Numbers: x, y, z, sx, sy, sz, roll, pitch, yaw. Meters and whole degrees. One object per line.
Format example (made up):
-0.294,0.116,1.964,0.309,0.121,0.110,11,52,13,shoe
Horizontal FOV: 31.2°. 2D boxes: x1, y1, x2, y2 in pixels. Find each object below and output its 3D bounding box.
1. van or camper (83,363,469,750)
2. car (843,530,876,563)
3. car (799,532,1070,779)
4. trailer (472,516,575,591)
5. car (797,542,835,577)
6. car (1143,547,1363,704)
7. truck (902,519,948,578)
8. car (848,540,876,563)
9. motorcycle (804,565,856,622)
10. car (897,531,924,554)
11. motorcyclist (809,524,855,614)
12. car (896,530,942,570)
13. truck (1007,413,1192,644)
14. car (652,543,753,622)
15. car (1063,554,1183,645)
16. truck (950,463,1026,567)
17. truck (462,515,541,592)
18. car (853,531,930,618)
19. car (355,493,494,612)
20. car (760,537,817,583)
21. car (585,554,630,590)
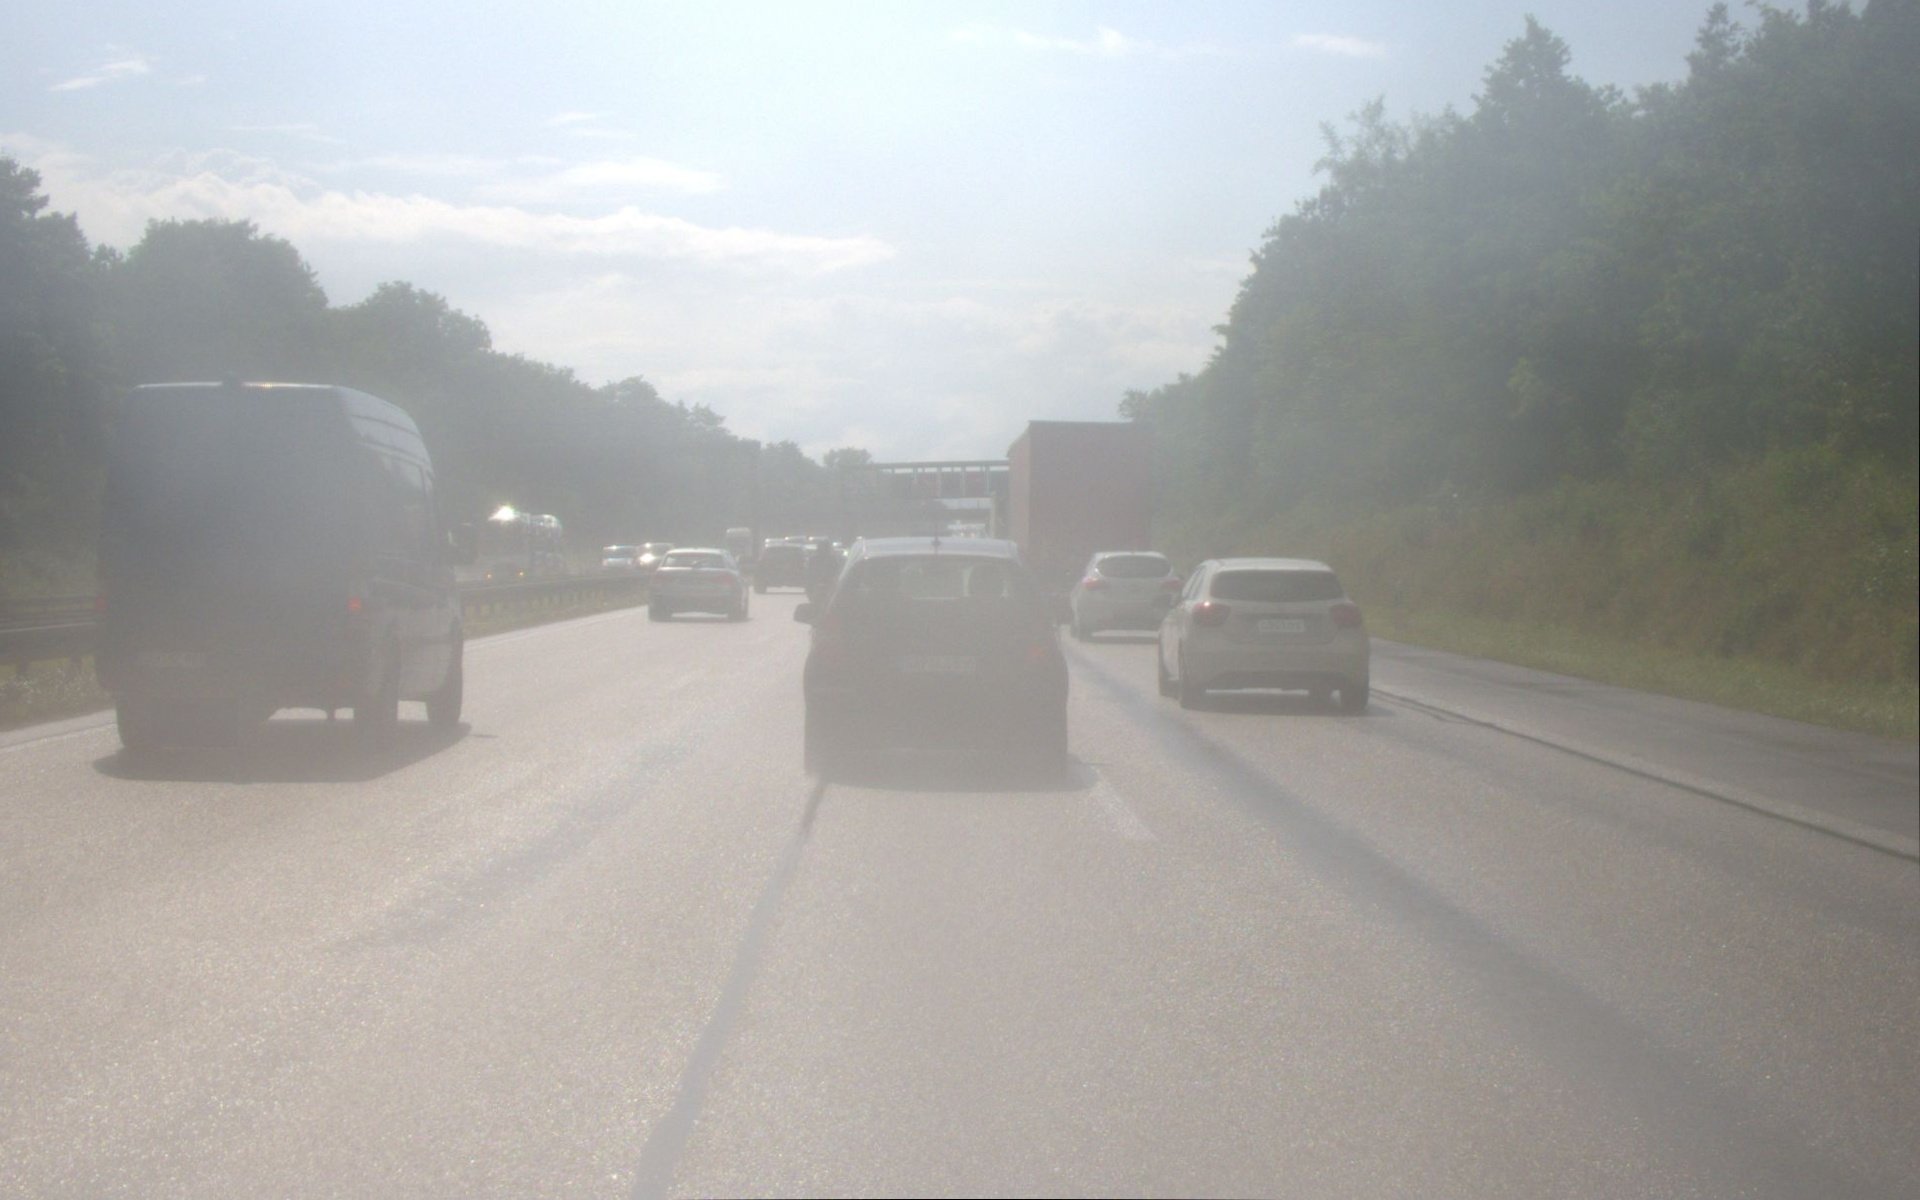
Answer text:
-5.123,-0.335,26.510,1.993,2.659,5.385,1,1,-1,van or camper
-6.187,-3.321,212.761,1.993,2.007,4.000,0,1,-1,car
-0.204,0.334,23.838,1.717,1.562,3.485,1,1,-1,car
-23.524,-2.521,186.375,2.990,3.818,17.952,1,1,1,trailer
-5.787,-1.636,138.615,1.460,1.389,3.312,1,1,-1,car
2.817,0.209,33.807,1.692,1.420,4.220,1,1,-1,car
-1.789,-2.592,173.221,2.192,2.865,4.850,1,1,-1,truck
-5.442,-2.709,191.434,1.549,1.262,3.485,1,1,-2,car
-2.364,-0.124,62.843,0.890,0.997,2.896,1,1,-1,motorcycle
-3.712,-4.326,257.415,1.993,1.722,4.000,0,1,0,car
-2.342,-0.569,62.793,0.801,1.627,1.013,1,1,-1,motorcyclist
-1.454,-1.741,120.269,1.552,1.378,3.210,1,1,-1,car
2.983,-1.583,79.086,3.650,4.704,16.779,1,1,0,truck
-5.214,-0.366,70.069,1.854,1.546,3.485,1,1,-1,car
2.660,-0.037,56.823,1.680,1.437,3.905,1,1,-1,car
1.267,-3.768,155.405,3.256,4.464,12.421,1,1,0,truck
-23.639,-2.411,177.553,2.990,3.818,6.864,1,1,1,truck
-1.424,-0.539,71.354,1.531,1.740,3.485,1,1,-1,car
-11.455,-1.017,73.886,2.183,2.444,5.748,1,1,-1,car
-5.577,-1.308,112.368,1.751,1.452,3.390,1,1,-1,car
-19.457,-1.541,189.859,1.868,1.939,5.041,1,1,1,car
